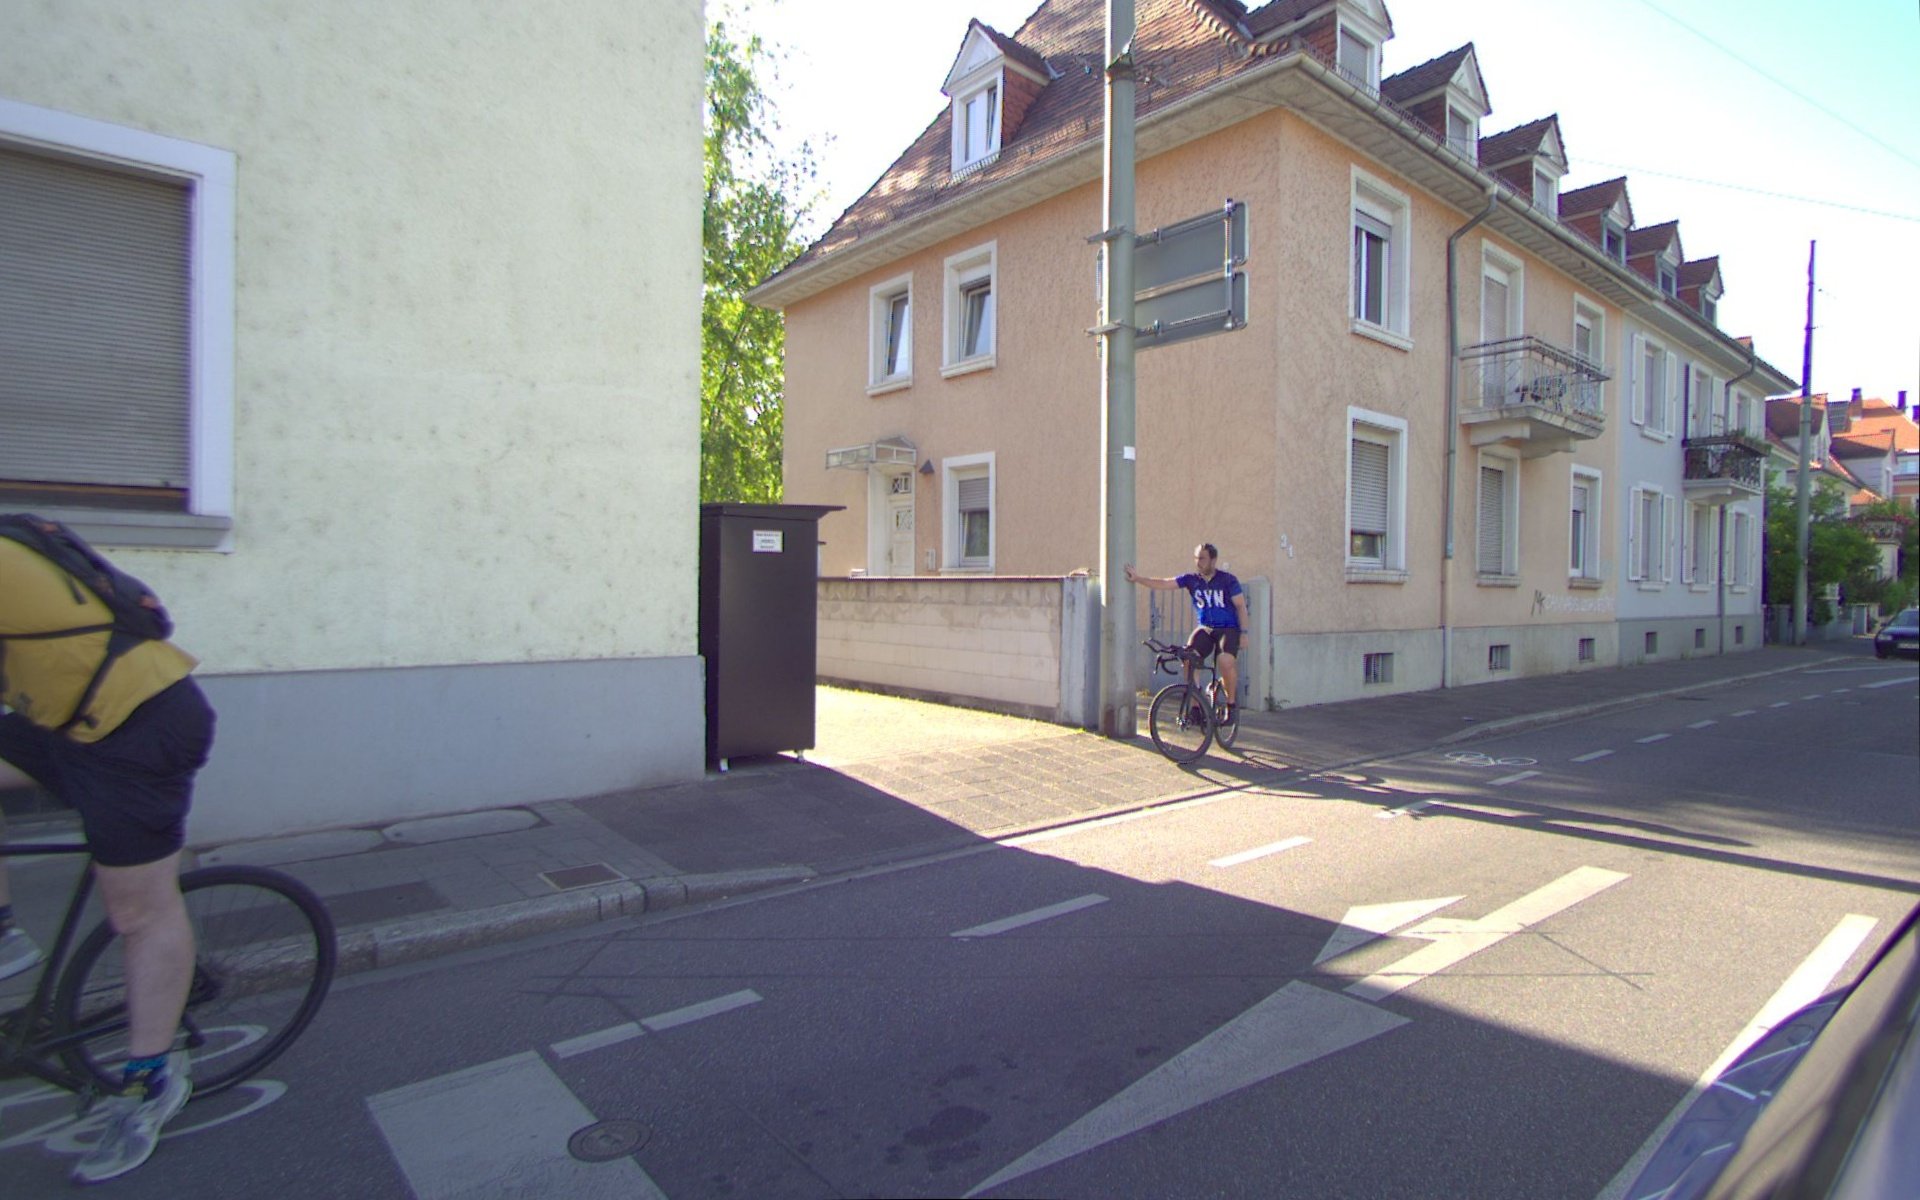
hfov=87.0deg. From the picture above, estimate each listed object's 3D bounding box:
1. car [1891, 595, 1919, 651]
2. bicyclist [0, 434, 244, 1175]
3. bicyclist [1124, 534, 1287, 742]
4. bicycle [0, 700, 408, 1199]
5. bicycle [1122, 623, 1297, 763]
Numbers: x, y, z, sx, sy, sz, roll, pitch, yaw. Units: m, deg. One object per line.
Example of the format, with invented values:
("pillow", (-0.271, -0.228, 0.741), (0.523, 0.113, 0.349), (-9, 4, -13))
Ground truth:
("car", (26.641, 0.610, 27.327), (3.932, 1.438, 1.845), (0, 1, -42))
("bicyclist", (-2.444, 0.477, 2.594), (0.939, 1.743, 0.582), (0, 1, -41))
("bicyclist", (2.278, 0.308, 9.470), (0.838, 1.758, 1.072), (0, 6, -40))
("bicycle", (-2.466, 0.895, 2.577), (1.778, 1.101, 0.611), (0, 1, -41))
("bicycle", (2.286, 0.792, 9.173), (1.689, 1.064, 0.595), (0, 6, -41))
